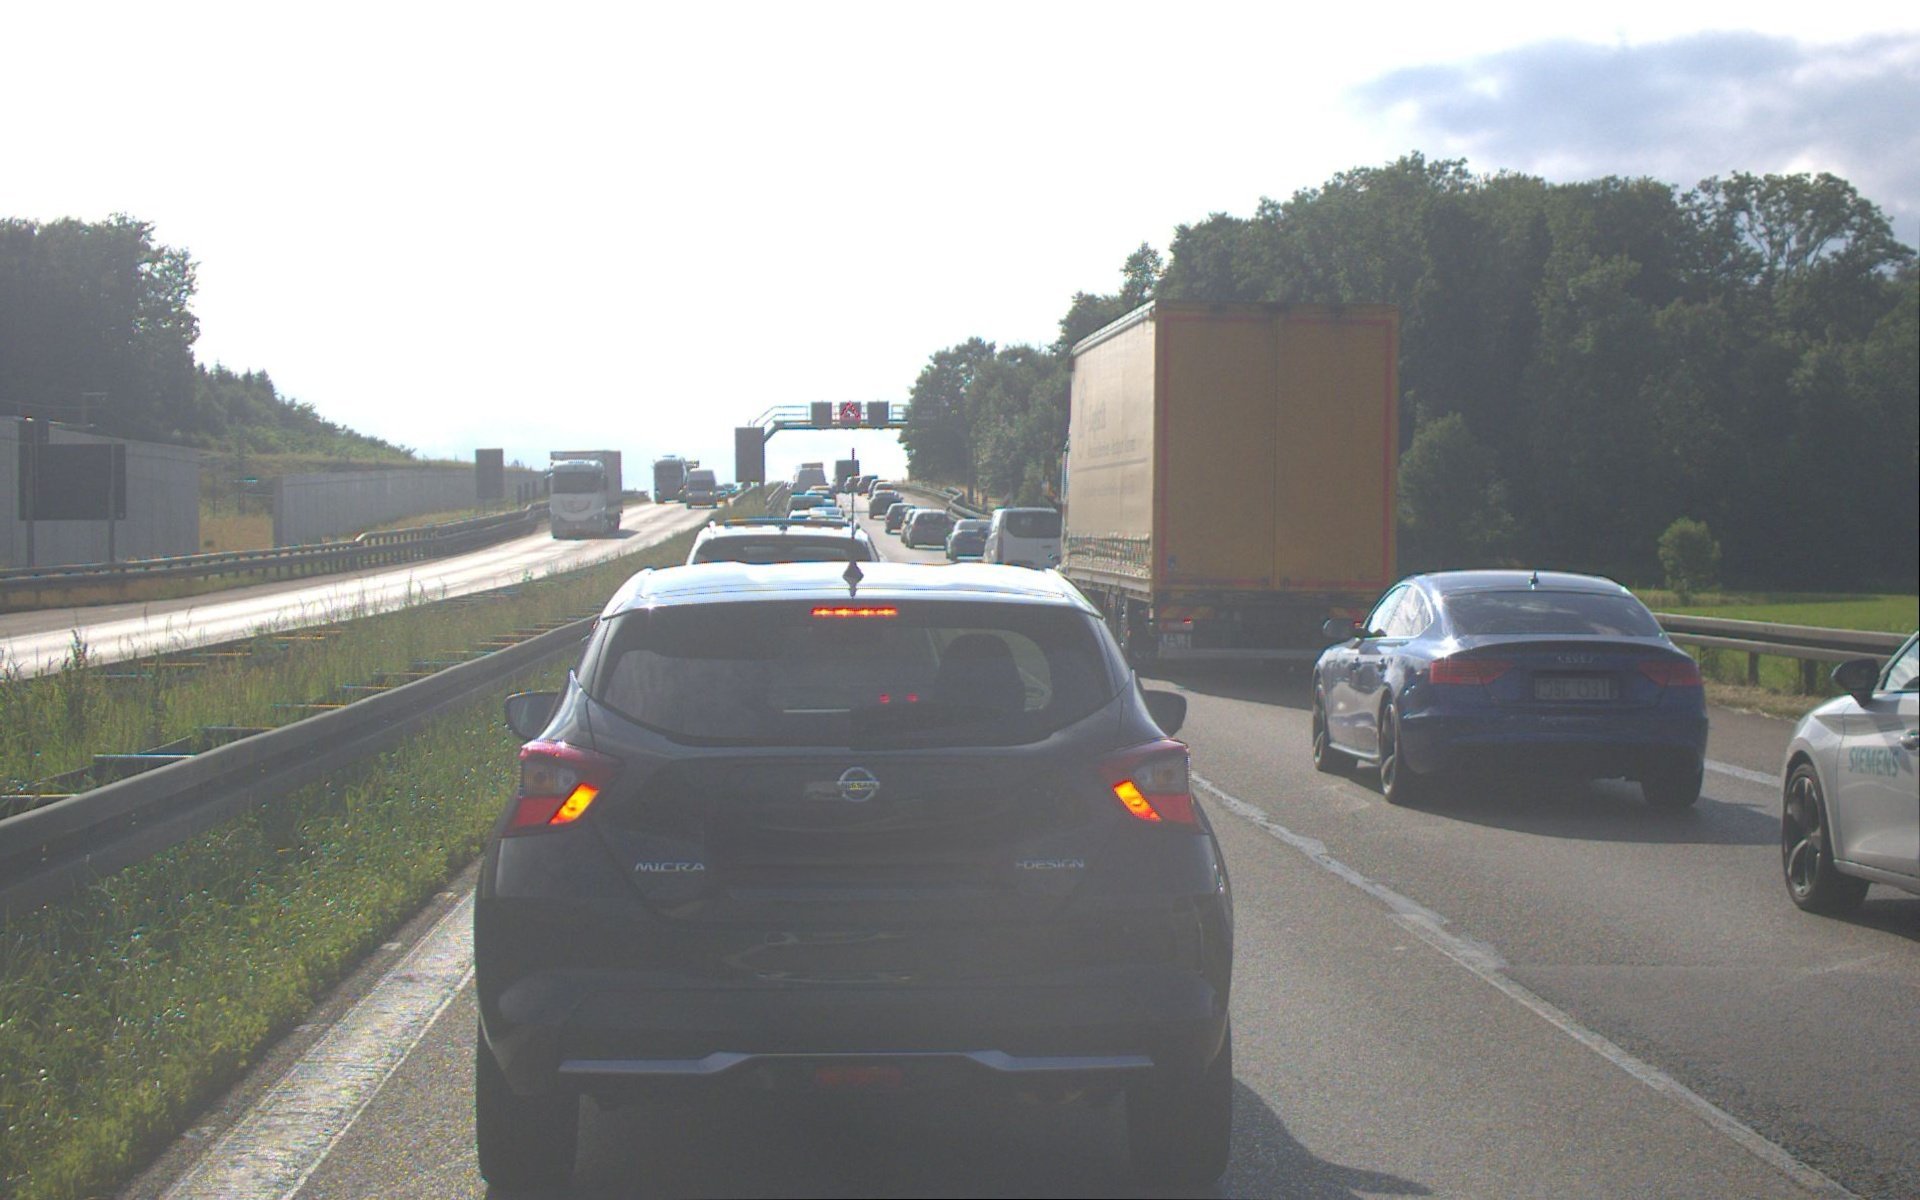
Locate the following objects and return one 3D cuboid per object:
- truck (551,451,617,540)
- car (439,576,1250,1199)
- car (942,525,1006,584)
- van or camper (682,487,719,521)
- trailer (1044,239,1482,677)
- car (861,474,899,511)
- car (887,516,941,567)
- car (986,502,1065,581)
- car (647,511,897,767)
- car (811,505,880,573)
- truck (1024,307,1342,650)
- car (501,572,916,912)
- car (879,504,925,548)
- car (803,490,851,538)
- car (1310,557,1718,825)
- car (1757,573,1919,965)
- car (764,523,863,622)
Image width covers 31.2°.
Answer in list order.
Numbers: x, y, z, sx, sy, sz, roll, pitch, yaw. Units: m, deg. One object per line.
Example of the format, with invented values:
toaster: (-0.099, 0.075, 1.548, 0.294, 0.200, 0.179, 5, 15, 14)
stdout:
truck: (-17.818, -4.921, 163.416, 2.637, 4.084, 7.003, 1, 1, -3)
car: (-0.265, 0.662, 9.009, 1.710, 1.421, 3.378, 1, 0, -1)
car: (0.482, -1.584, 120.198, 1.993, 2.007, 4.000, 1, 1, -3)
van or camper: (-18.196, -6.736, 241.455, 2.166, 2.198, 6.259, 1, 1, -1)
trailer: (3.269, -1.516, 41.646, 3.548, 4.442, 12.723, 1, 1, -3)
car: (-4.527, -6.059, 193.891, 1.993, 2.007, 4.000, 1, 1, -3)
car: (-1.865, -2.333, 138.315, 1.993, 2.007, 4.000, 1, 1, -3)
car: (1.483, -1.334, 78.738, 1.667, 1.748, 3.327, 1, 1, -1)
car: (-1.315, 0.250, 25.135, 1.674, 1.720, 3.596, 1, 0, -1)
car: (-3.537, -1.864, 105.666, 1.993, 2.007, 4.000, 1, 1, -3)
truck: (2.936, -1.597, 47.660, 3.581, 4.365, 6.689, 1, 0, -3)
car: (-1.063, 0.566, 15.799, 1.674, 1.362, 3.596, 1, 0, -1)
car: (-2.749, -3.497, 162.386, 1.993, 2.007, 4.000, 1, 1, -3)
car: (-5.845, -3.769, 150.511, 1.993, 2.007, 4.000, 1, 1, -3)
car: (3.296, 0.490, 21.210, 1.747, 1.470, 4.147, 1, 0, -1)
car: (4.352, 0.633, 12.662, 1.620, 1.440, 4.147, 1, 0, -4)
car: (-3.116, -0.576, 72.600, 1.993, 2.007, 4.000, 1, 1, -3)
